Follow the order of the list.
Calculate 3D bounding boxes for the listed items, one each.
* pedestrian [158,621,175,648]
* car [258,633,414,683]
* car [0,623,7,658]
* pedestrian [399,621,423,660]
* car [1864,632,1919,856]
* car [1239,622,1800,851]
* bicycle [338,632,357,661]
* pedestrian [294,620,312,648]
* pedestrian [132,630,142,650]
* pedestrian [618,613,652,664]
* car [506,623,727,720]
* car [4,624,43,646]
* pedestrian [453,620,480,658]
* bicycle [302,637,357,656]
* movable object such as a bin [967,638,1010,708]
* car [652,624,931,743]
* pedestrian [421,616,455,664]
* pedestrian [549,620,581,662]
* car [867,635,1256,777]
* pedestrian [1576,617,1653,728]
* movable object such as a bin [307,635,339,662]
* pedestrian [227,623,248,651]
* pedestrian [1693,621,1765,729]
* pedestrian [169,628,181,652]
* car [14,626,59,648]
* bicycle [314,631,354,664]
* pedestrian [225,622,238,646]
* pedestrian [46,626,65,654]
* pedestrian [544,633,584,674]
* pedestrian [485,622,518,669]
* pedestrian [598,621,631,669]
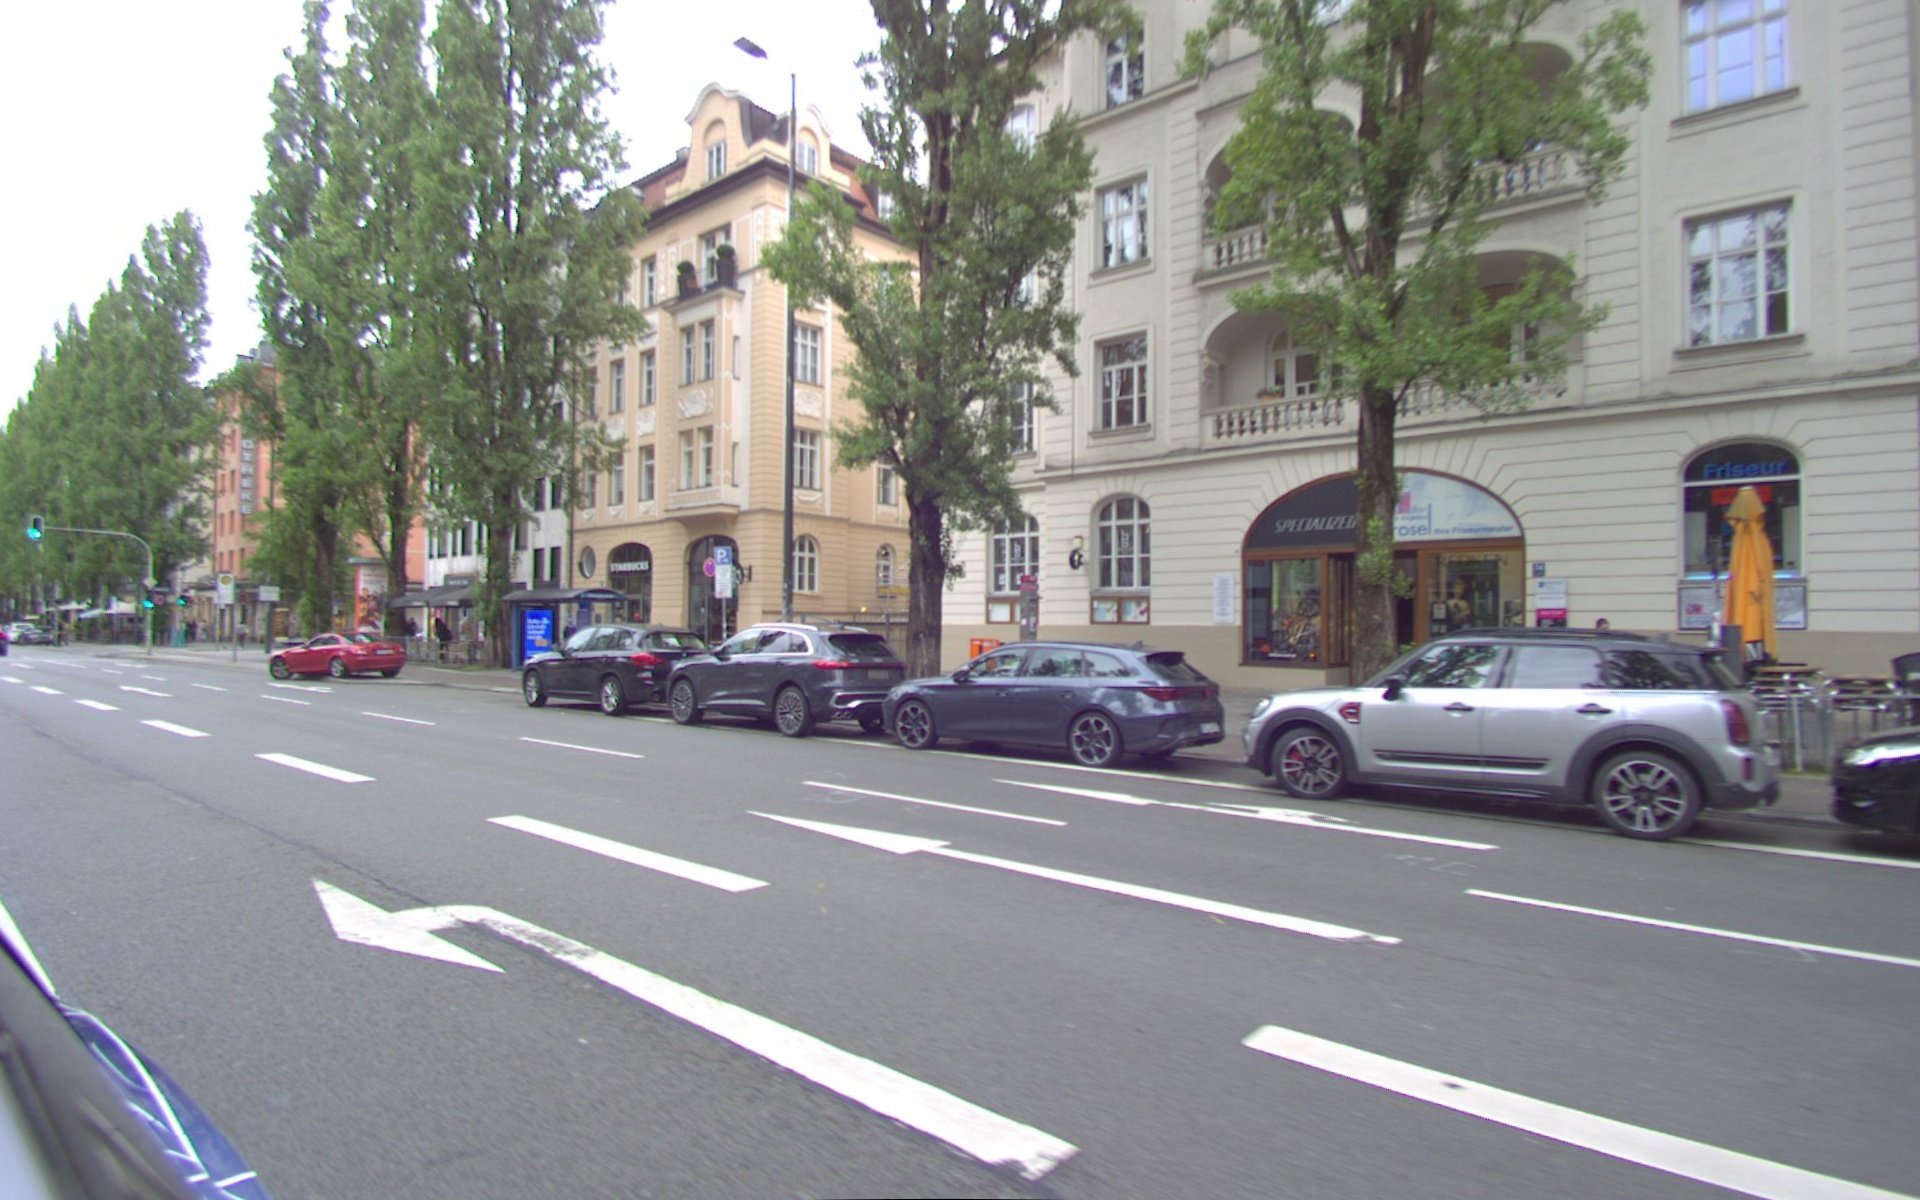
[{"bbox_3d":[-51.886,2.238,66.153,0.778,1.784,0.716,-2,-2,42],"label":"pedestrian"},{"bbox_3d":[-17.835,1.621,28.922,4.070,1.308,1.869,-1,-2,25],"label":"car"},{"bbox_3d":[-47.024,1.908,48.181,4.334,1.636,1.915,-1,-4,41],"label":"car"},{"bbox_3d":[-25.867,1.895,47.664,0.941,1.753,0.719,-1,-1,41],"label":"pedestrian"},{"bbox_3d":[8.488,0.993,6.238,4.312,1.516,1.645,-1,-4,42],"label":"car"},{"bbox_3d":[4.815,1.028,9.075,4.130,1.587,1.763,-1,-4,41],"label":"car"},{"bbox_3d":[-25.183,1.896,41.625,0.499,1.096,1.815,0,0,-26],"label":"bicycle"},{"bbox_3d":[-43.194,2.234,66.537,0.692,1.780,0.770,-1,-2,41],"label":"pedestrian"},{"bbox_3d":[-71.047,3.430,87.392,0.691,1.731,0.549,-2,-2,40],"label":"pedestrian"},{"bbox_3d":[-11.878,1.395,36.971,0.911,1.801,0.791,-2,-1,41],"label":"pedestrian"},{"bbox_3d":[-6.658,1.270,19.374,4.711,1.630,1.802,-1,-2,39],"label":"car"},{"bbox_3d":[-70.880,2.612,76.559,4.094,1.595,1.685,-1,-3,41],"label":"car"},{"bbox_3d":[-23.016,1.815,47.191,0.954,1.757,0.834,-1,-1,42],"label":"pedestrian"},{"bbox_3d":[-28.277,2.077,45.402,0.827,0.514,1.939,22,8,21],"label":"bicycle"},{"bbox_3d":[0.559,1.393,19.532,0.586,1.326,0.598,-1,-2,41],"label":"movable object such as a bin"},{"bbox_3d":[-2.762,1.201,15.913,4.628,1.607,1.784,-1,-3,41],"label":"car"},{"bbox_3d":[-19.336,1.477,37.486,0.895,1.757,0.821,2,-3,-44],"label":"pedestrian"},{"bbox_3d":[-15.090,1.563,38.657,0.989,1.579,0.743,-1,0,41],"label":"pedestrian"},{"bbox_3d":[1.136,1.207,12.695,4.681,1.435,1.668,-1,-4,38],"label":"car"},{"bbox_3d":[9.530,1.036,14.760,0.784,1.549,0.679,-1,0,21],"label":"pedestrian"},{"bbox_3d":[-25.959,1.974,41.235,0.847,1.049,0.722,-1,0,12],"label":"movable object such as a bin"},{"bbox_3d":[-42.700,2.174,59.783,0.934,1.631,0.770,-2,-2,41],"label":"pedestrian"},{"bbox_3d":[11.520,1.092,15.153,0.804,1.549,0.760,-1,0,40],"label":"pedestrian"},{"bbox_3d":[-57.458,2.917,74.087,0.519,1.701,0.623,-1,-1,42],"label":"pedestrian"},{"bbox_3d":[-64.934,2.563,71.115,4.586,1.449,1.686,-1,-3,40],"label":"car"},{"bbox_3d":[-26.408,1.979,42.727,0.501,1.299,1.955,-1,0,-2],"label":"bicycle"},{"bbox_3d":[-52.860,2.463,73.430,0.513,1.704,0.580,-1,-2,41],"label":"pedestrian"},{"bbox_3d":[-58.891,2.609,65.880,0.725,1.809,0.995,0,0,-31],"label":"pedestrian"},{"bbox_3d":[-12.578,1.685,32.117,0.757,1.266,0.951,-2,-1,42],"label":"pedestrian"},{"bbox_3d":[-17.523,1.720,38.676,0.895,1.757,0.821,1,-2,-44],"label":"pedestrian"},{"bbox_3d":[-12.436,1.608,36.391,0.977,1.694,0.724,-2,-1,41],"label":"pedestrian"}]
